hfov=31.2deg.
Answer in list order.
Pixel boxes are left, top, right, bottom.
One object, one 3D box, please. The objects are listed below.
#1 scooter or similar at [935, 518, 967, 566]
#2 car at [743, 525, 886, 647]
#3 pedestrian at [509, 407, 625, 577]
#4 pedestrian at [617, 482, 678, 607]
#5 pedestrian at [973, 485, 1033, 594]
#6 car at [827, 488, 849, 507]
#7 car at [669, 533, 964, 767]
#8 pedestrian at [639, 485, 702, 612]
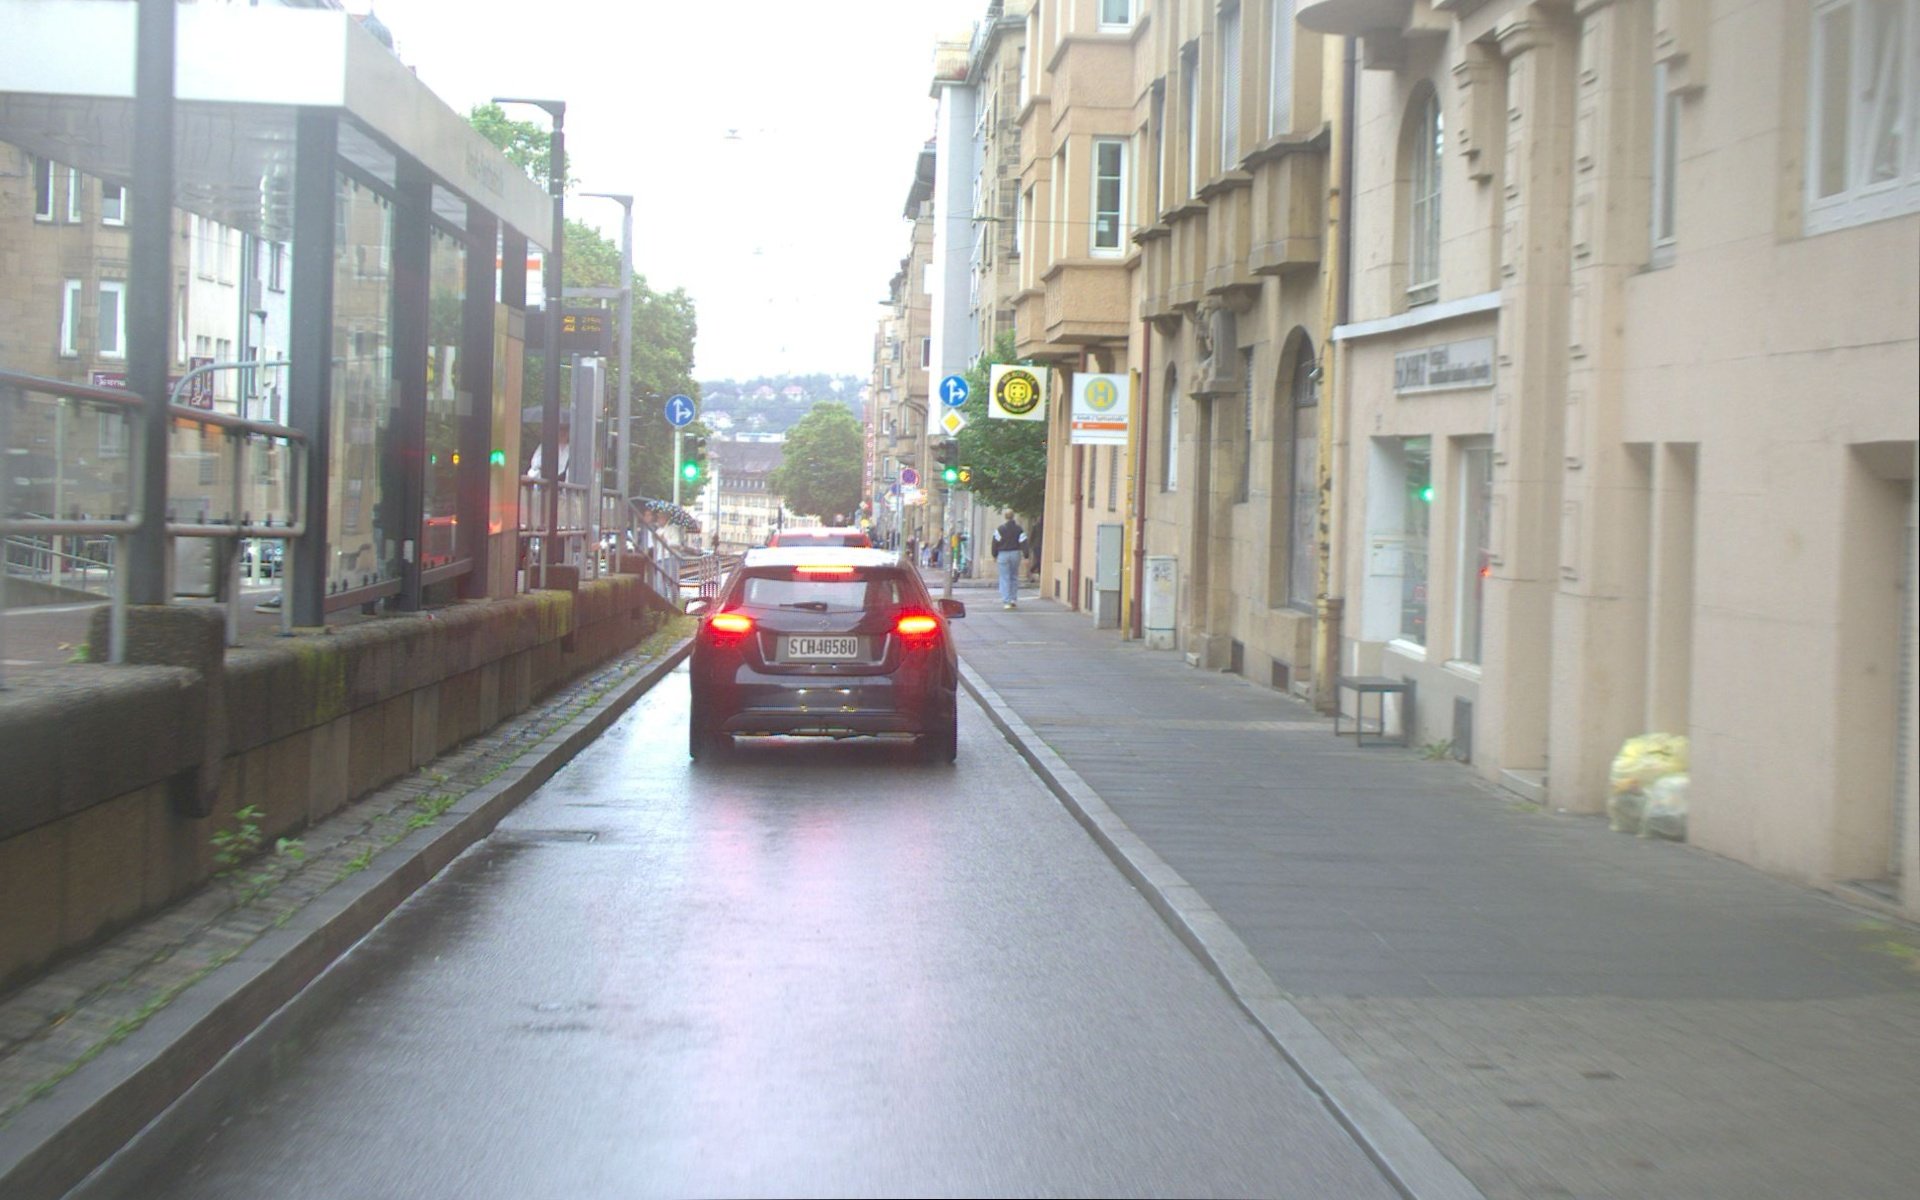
[{"bbox_3d":[-0.234,-1.479,87.510,0.638,1.206,1.553,-1,1,-6],"label":"scooter or similar"},{"bbox_3d":[-1.809,-0.214,43.674,1.649,1.447,4.000,1,1,0],"label":"car"},{"bbox_3d":[-4.181,-1.149,36.687,1.114,1.768,1.111,1,1,-2],"label":"pedestrian"},{"bbox_3d":[-5.115,-0.909,56.340,0.897,2.007,0.947,1,1,-2],"label":"pedestrian"},{"bbox_3d":[0.746,-1.046,59.301,0.899,1.834,0.968,-3,1,3],"label":"pedestrian"},{"bbox_3d":[-9.166,-7.695,259.043,1.613,1.313,4.001,2,1,-2],"label":"car"},{"bbox_3d":[-0.930,0.279,23.980,1.866,1.447,4.000,1,1,0],"label":"car"},{"bbox_3d":[-4.641,-0.829,55.234,0.926,2.007,0.947,1,1,-2],"label":"pedestrian"}]
